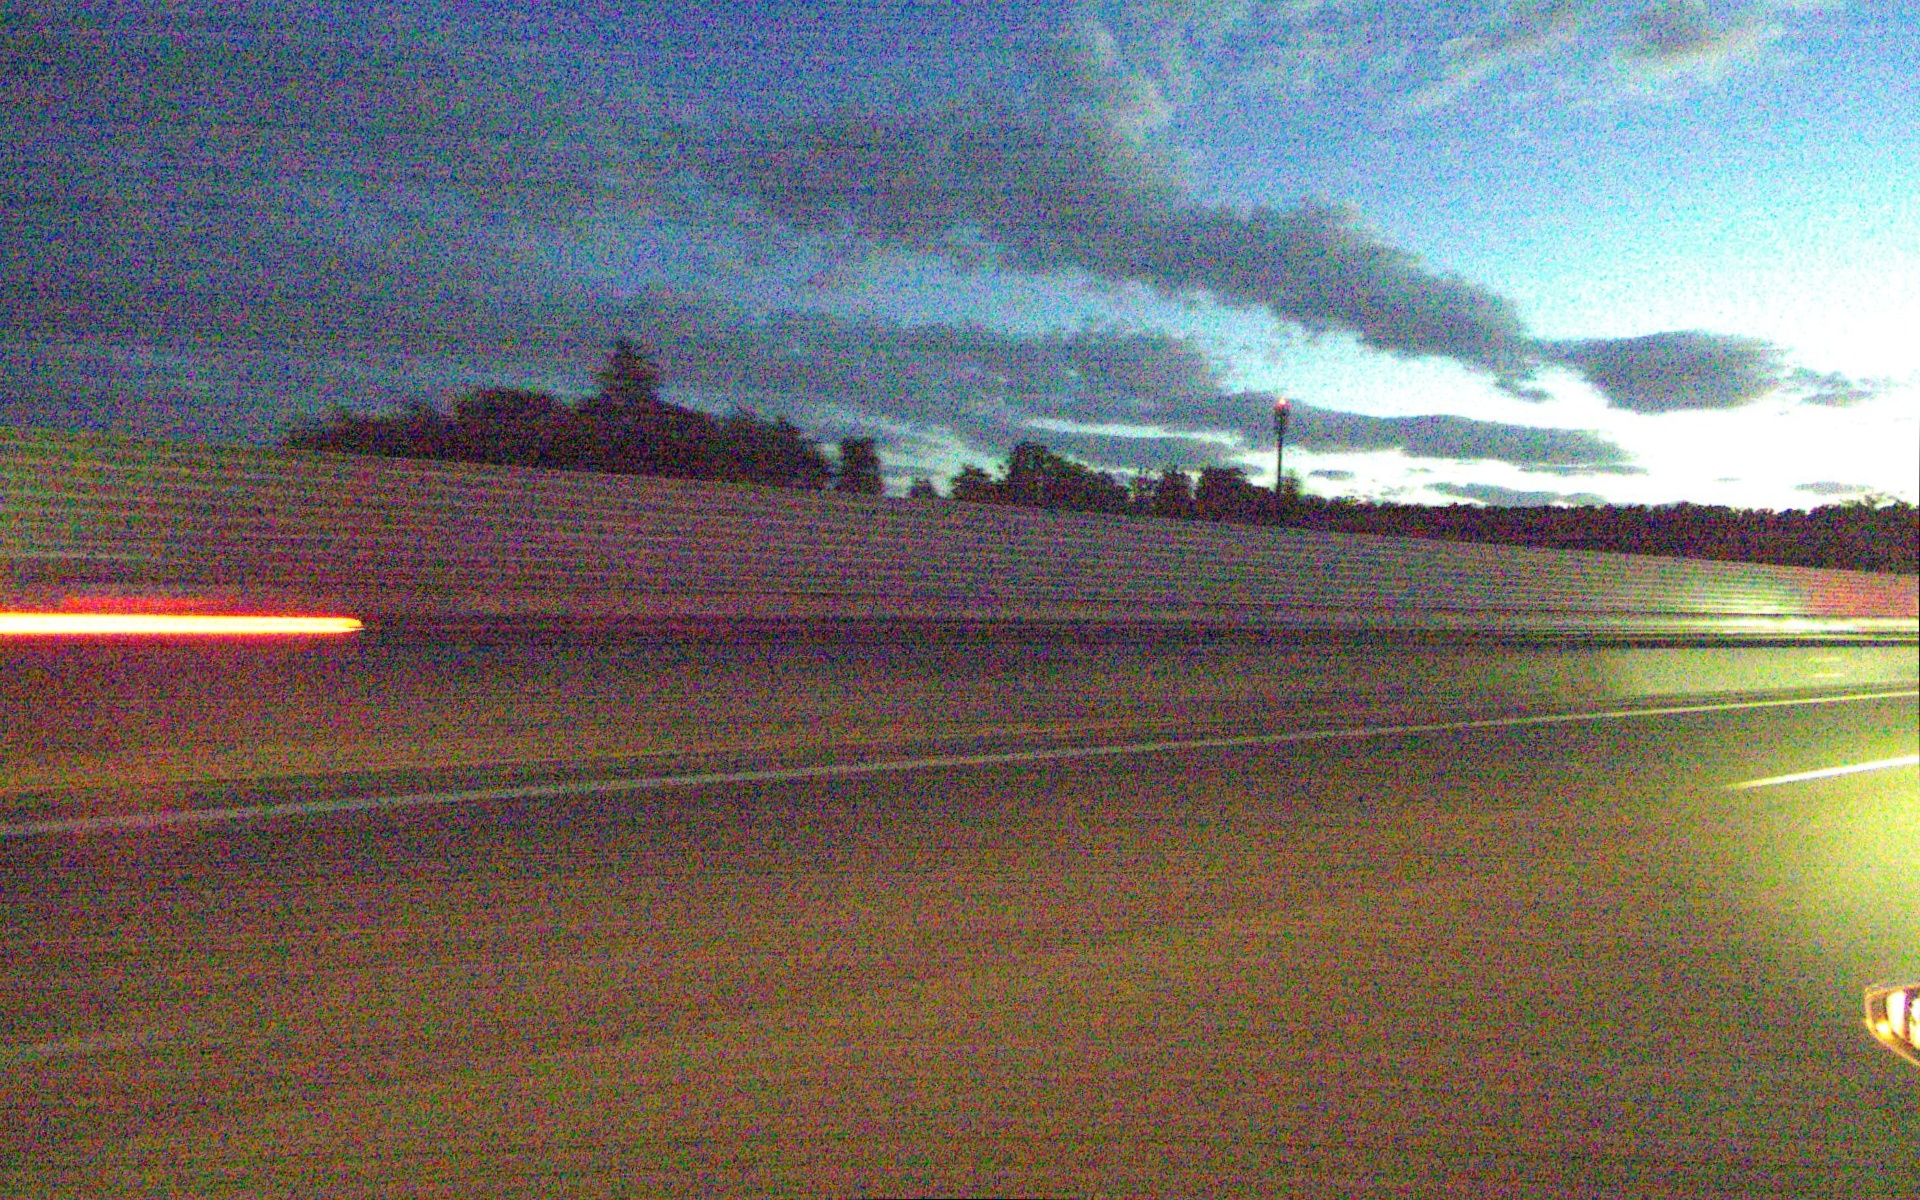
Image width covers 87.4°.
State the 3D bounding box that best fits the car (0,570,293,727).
[{"bbox_3d":[-10.548,0.459,11.100,5.048,1.576,2.548,2,0,-30],"label":"car"}]

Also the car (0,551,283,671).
[{"bbox_3d":[-14.632,0.162,16.263,5.870,1.805,2.044,2,0,-30],"label":"car"}]
